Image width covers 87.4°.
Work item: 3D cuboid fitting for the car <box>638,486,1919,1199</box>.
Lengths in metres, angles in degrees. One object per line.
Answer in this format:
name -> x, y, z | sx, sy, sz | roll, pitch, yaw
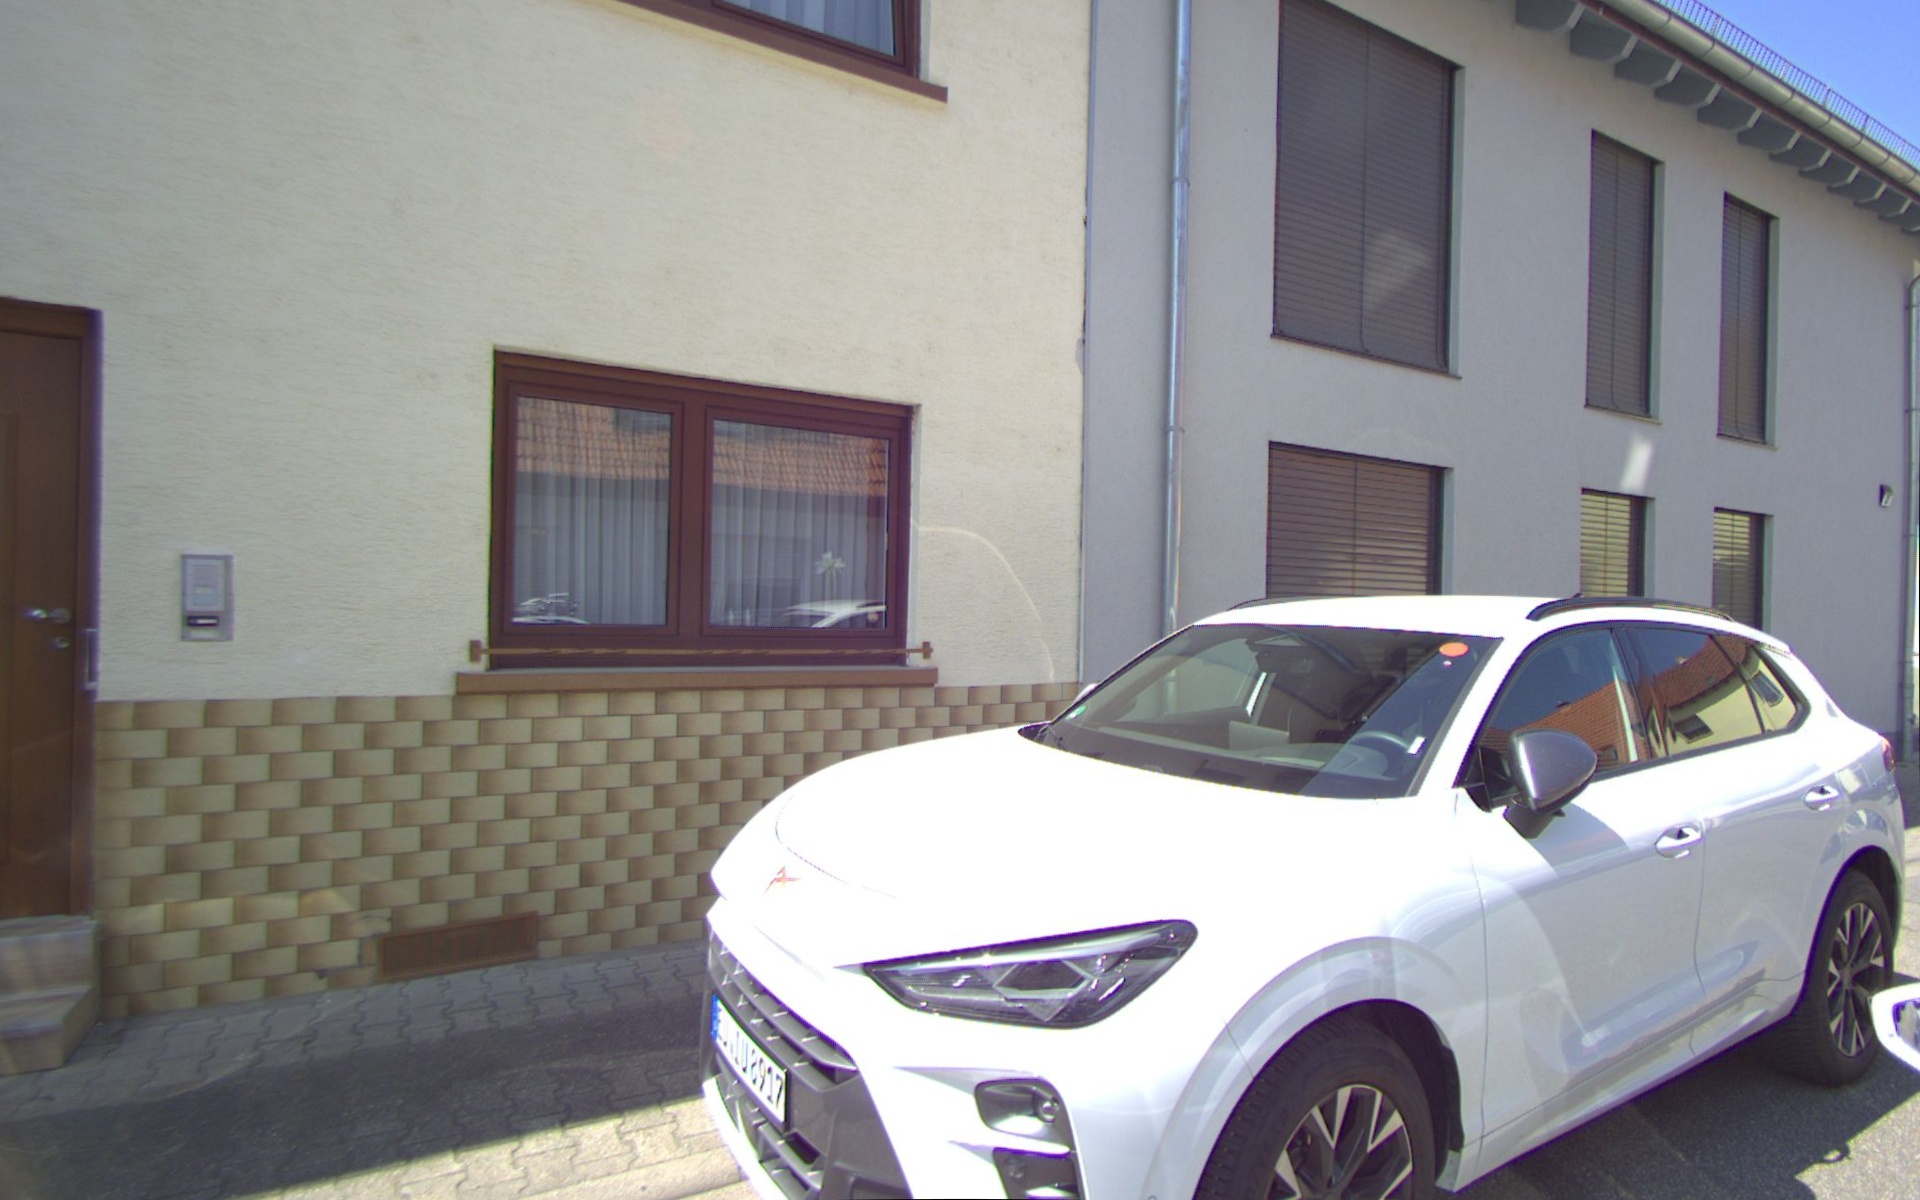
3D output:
car -> 1.362, 0.729, 3.283 | 4.301, 1.636, 1.764 | 2, -2, -32
